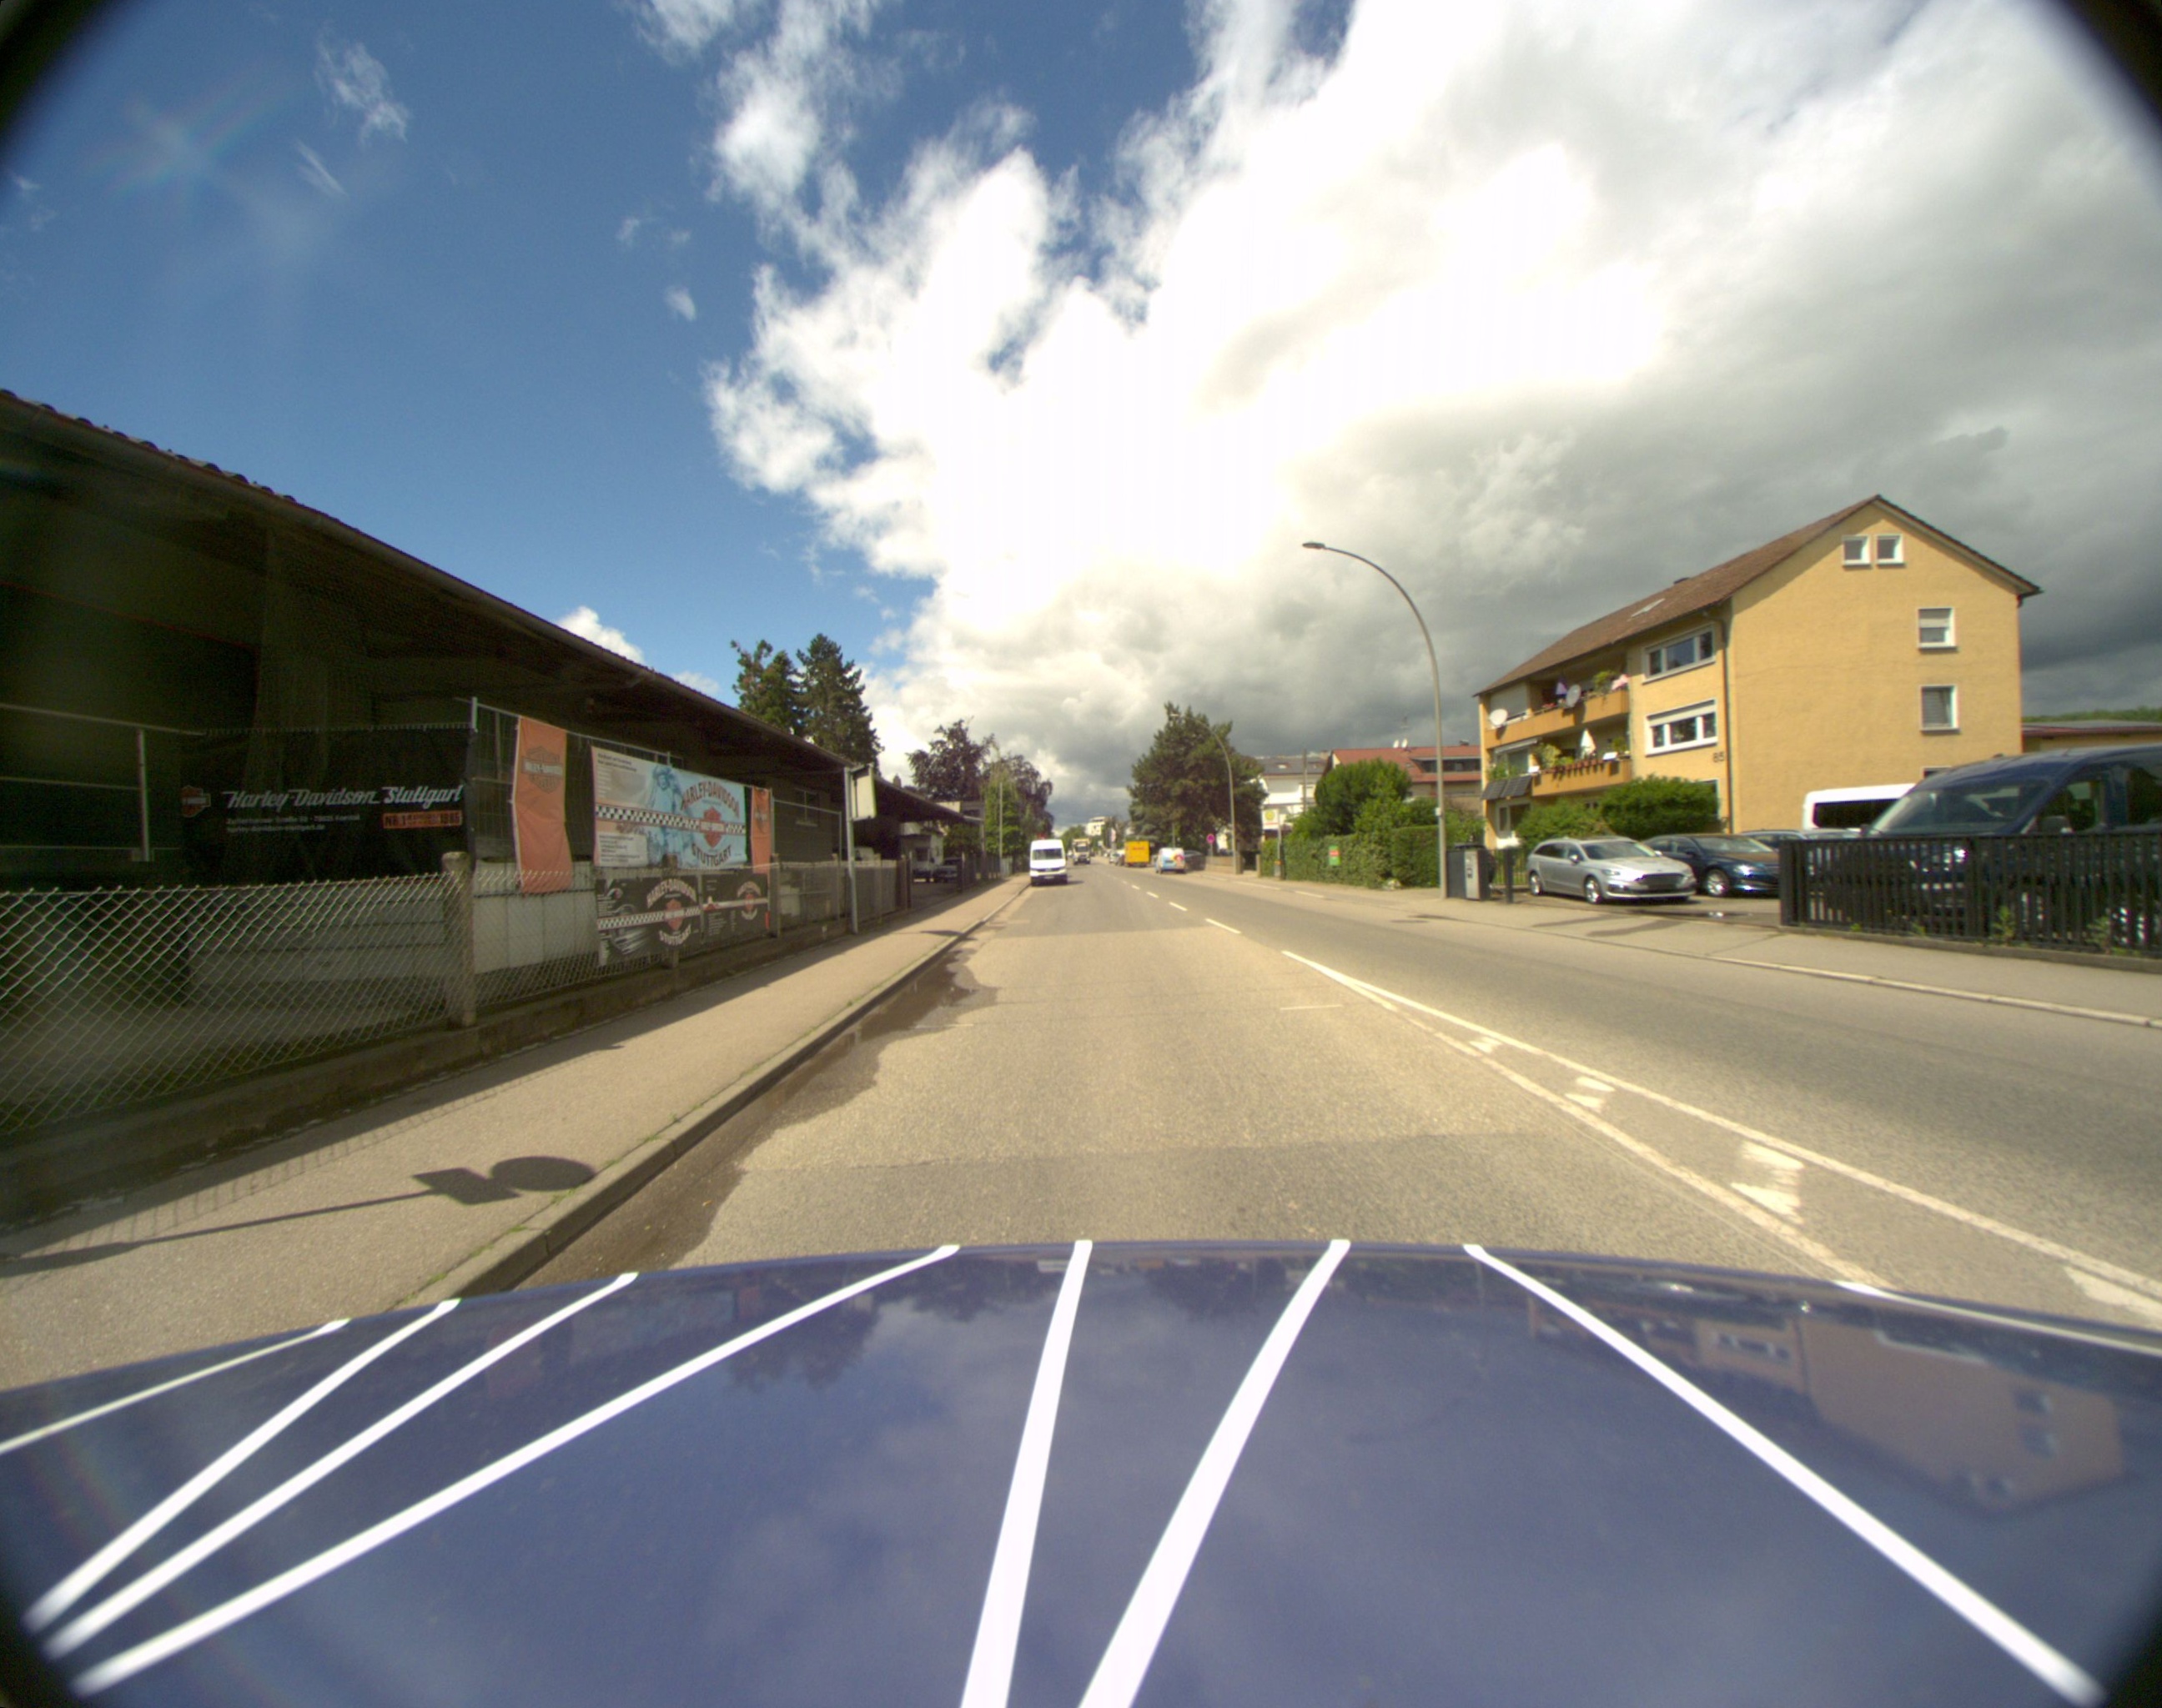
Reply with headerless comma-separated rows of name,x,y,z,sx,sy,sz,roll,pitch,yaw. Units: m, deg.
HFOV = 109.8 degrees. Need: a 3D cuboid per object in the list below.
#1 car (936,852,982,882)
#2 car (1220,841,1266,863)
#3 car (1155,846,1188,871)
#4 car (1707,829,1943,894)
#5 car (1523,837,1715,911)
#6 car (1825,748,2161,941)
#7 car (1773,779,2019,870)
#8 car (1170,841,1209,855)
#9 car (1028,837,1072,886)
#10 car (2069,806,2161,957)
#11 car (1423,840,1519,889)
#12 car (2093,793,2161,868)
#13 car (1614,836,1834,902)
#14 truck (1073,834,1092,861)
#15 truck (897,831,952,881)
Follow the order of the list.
car,-7.125,0.719,44.834,1.863,1.521,5.202,-2,1,0
car,15.313,-0.159,71.844,2.003,2.002,3.990,-3,1,-32
car,6.515,0.304,55.166,1.730,1.671,3.999,-2,1,-2
car,17.921,0.139,18.609,1.883,1.364,3.999,-2,1,1
car,12.348,0.387,17.850,1.887,1.450,4.352,-3,1,8
car,14.231,-0.188,10.674,5.363,2.371,2.104,-2,1,2
car,20.440,-0.696,19.359,1.998,2.002,3.999,-2,1,1
car,14.191,-0.758,99.988,4.735,1.669,2.218,-2,1,-1
car,-1.690,0.360,43.190,2.091,2.519,5.202,-2,1,1
car,12.390,0.276,7.027,1.813,1.612,3.621,-2,1,1
car,14.639,0.352,28.729,1.831,1.656,3.522,-2,1,1
car,28.722,-0.633,18.813,1.998,1.915,3.999,-2,1,1
car,15.113,0.294,18.198,1.885,1.334,3.999,-2,1,1
truck,0.254,-0.958,115.405,2.664,3.789,9.814,-2,1,1
truck,-9.460,0.089,46.398,2.091,2.812,5.202,-2,1,1
